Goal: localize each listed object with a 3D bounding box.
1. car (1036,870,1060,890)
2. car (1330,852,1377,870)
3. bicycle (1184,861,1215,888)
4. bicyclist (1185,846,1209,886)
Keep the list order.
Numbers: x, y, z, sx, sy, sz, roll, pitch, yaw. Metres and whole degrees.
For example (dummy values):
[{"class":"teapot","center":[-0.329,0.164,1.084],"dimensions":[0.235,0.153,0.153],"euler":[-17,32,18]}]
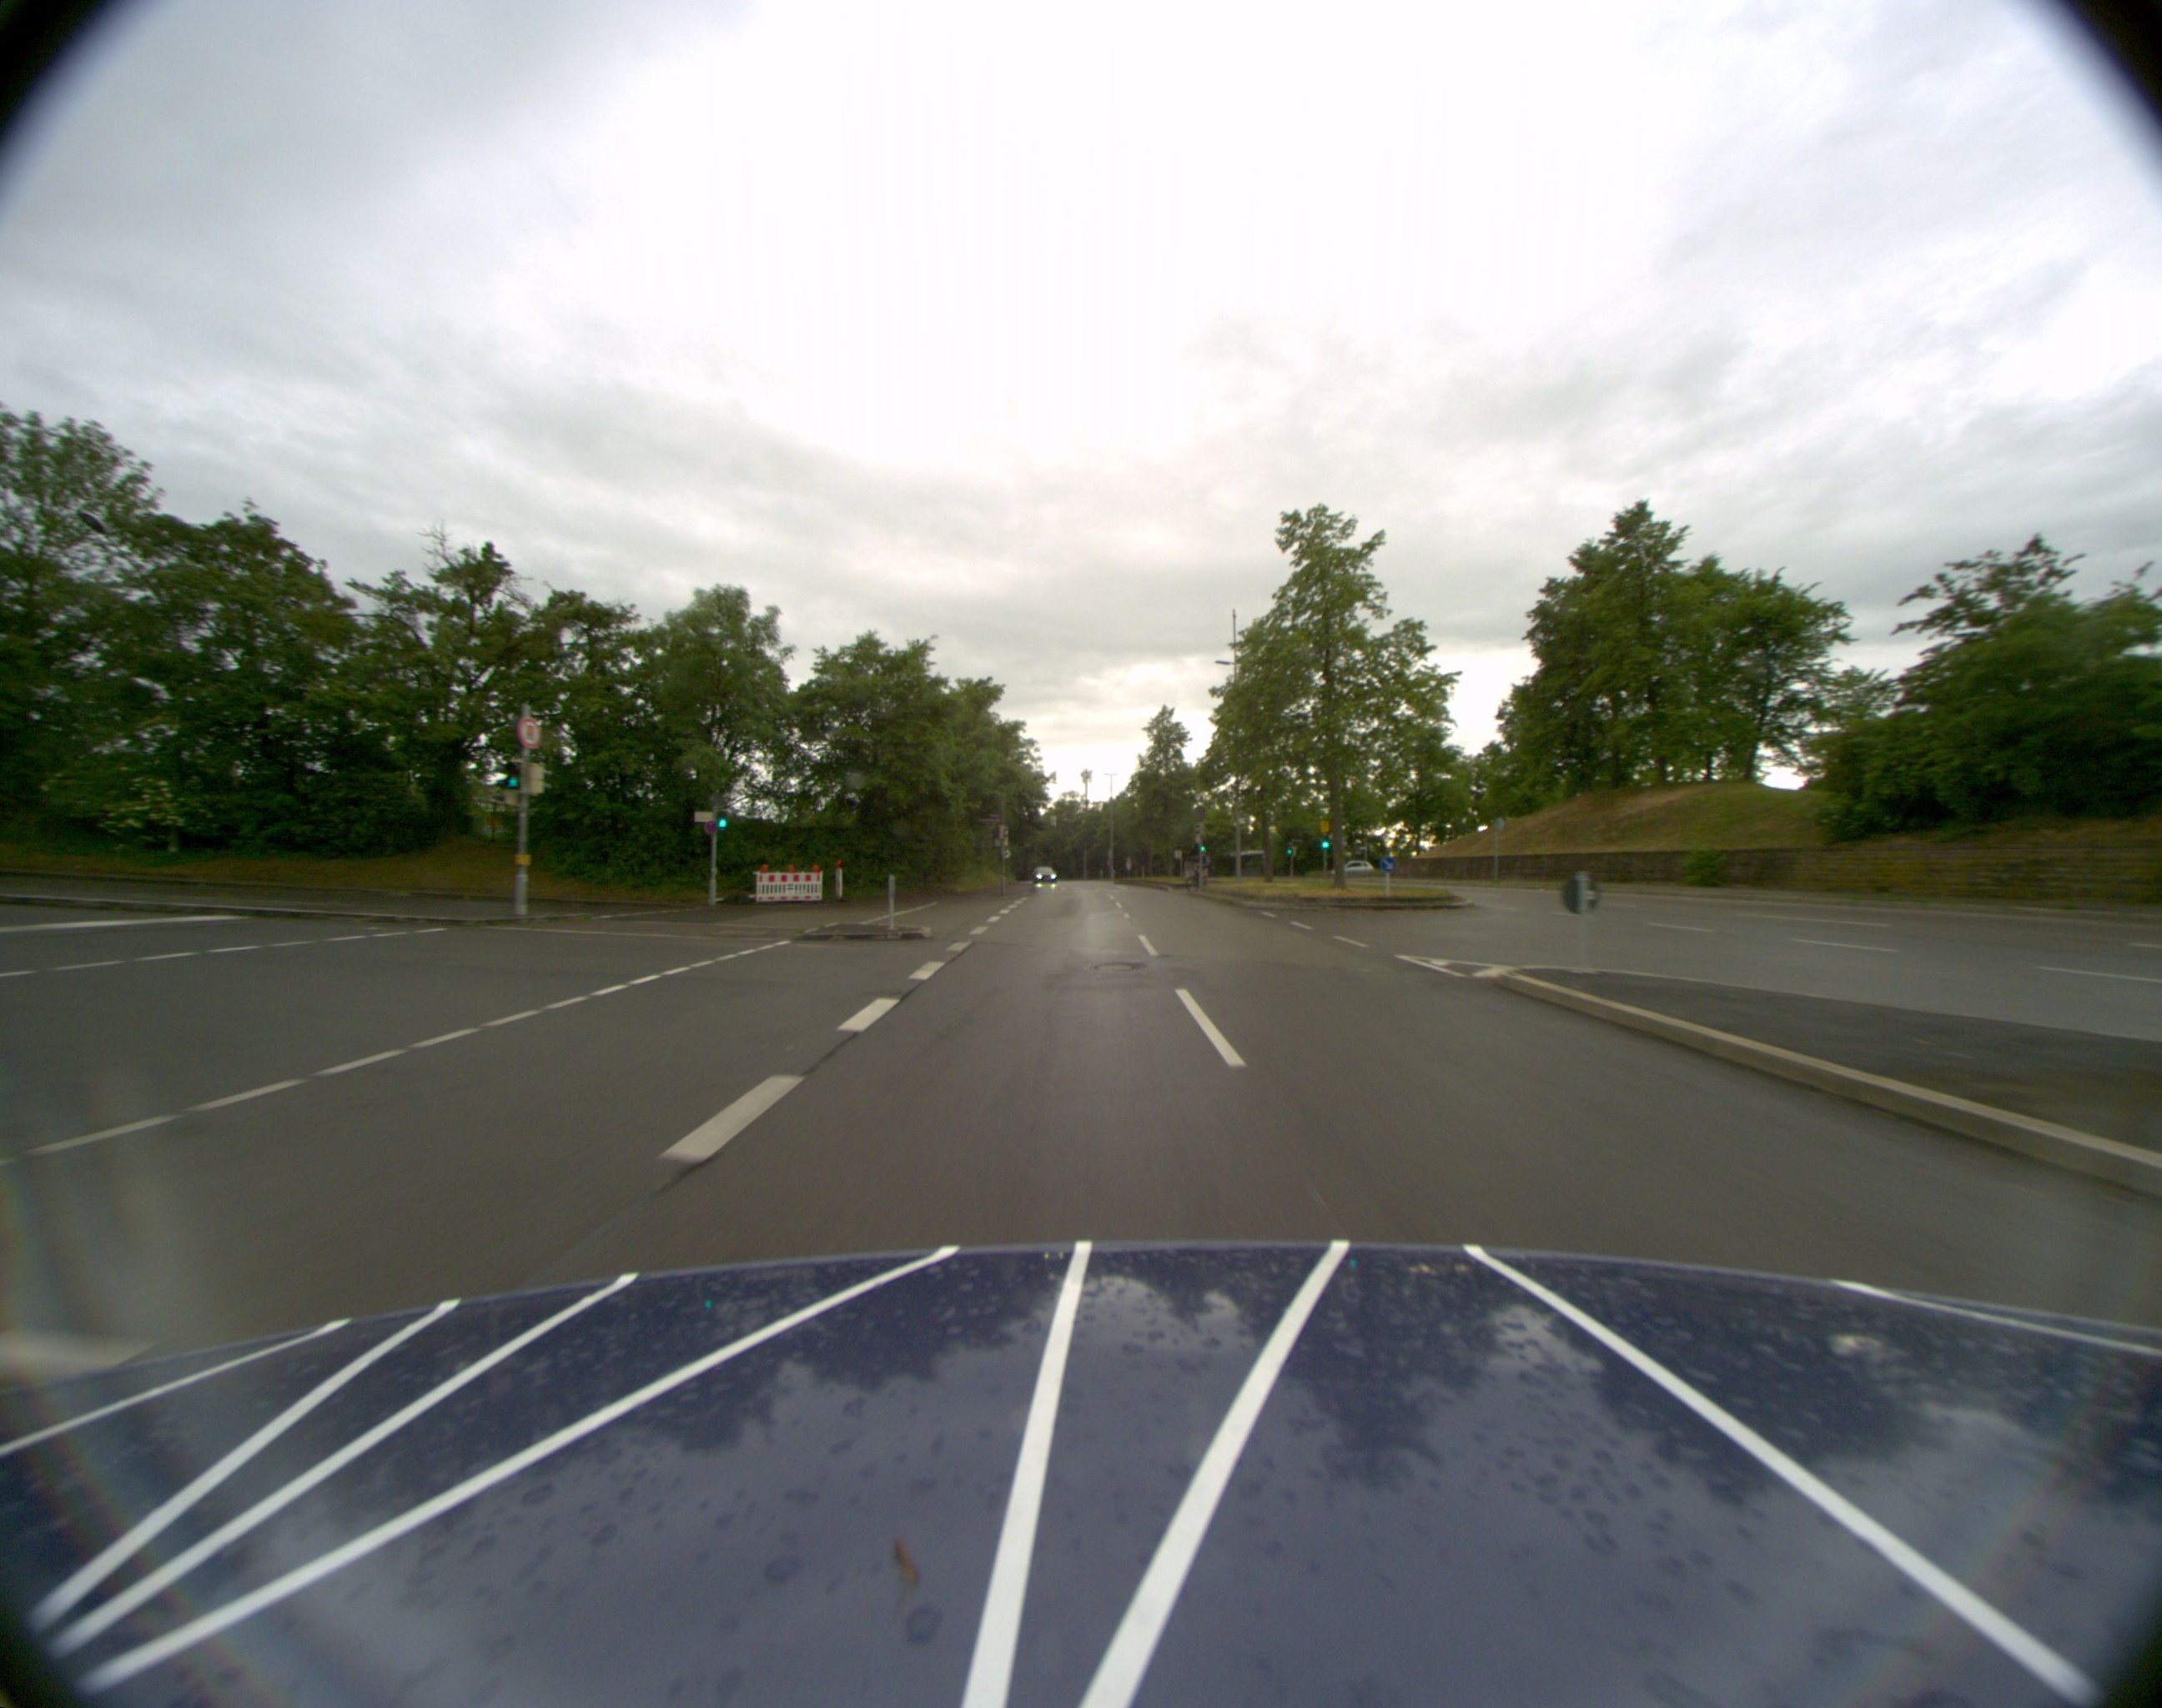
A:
[{"class":"car","center":[-2.843,2.264,65.091],"dimensions":[1.999,1.576,4.001],"euler":[2,-3,-3]},{"class":"car","center":[24.138,0.621,67.379],"dimensions":[3.692,1.469,1.763],"euler":[-1,0,9]},{"class":"bicycle","center":[5.337,0.898,34.107],"dimensions":[0.552,1.136,2.144],"euler":[-1,0,33]},{"class":"bicyclist","center":[5.169,0.505,33.812],"dimensions":[0.723,1.742,0.803],"euler":[2,3,33]}]
